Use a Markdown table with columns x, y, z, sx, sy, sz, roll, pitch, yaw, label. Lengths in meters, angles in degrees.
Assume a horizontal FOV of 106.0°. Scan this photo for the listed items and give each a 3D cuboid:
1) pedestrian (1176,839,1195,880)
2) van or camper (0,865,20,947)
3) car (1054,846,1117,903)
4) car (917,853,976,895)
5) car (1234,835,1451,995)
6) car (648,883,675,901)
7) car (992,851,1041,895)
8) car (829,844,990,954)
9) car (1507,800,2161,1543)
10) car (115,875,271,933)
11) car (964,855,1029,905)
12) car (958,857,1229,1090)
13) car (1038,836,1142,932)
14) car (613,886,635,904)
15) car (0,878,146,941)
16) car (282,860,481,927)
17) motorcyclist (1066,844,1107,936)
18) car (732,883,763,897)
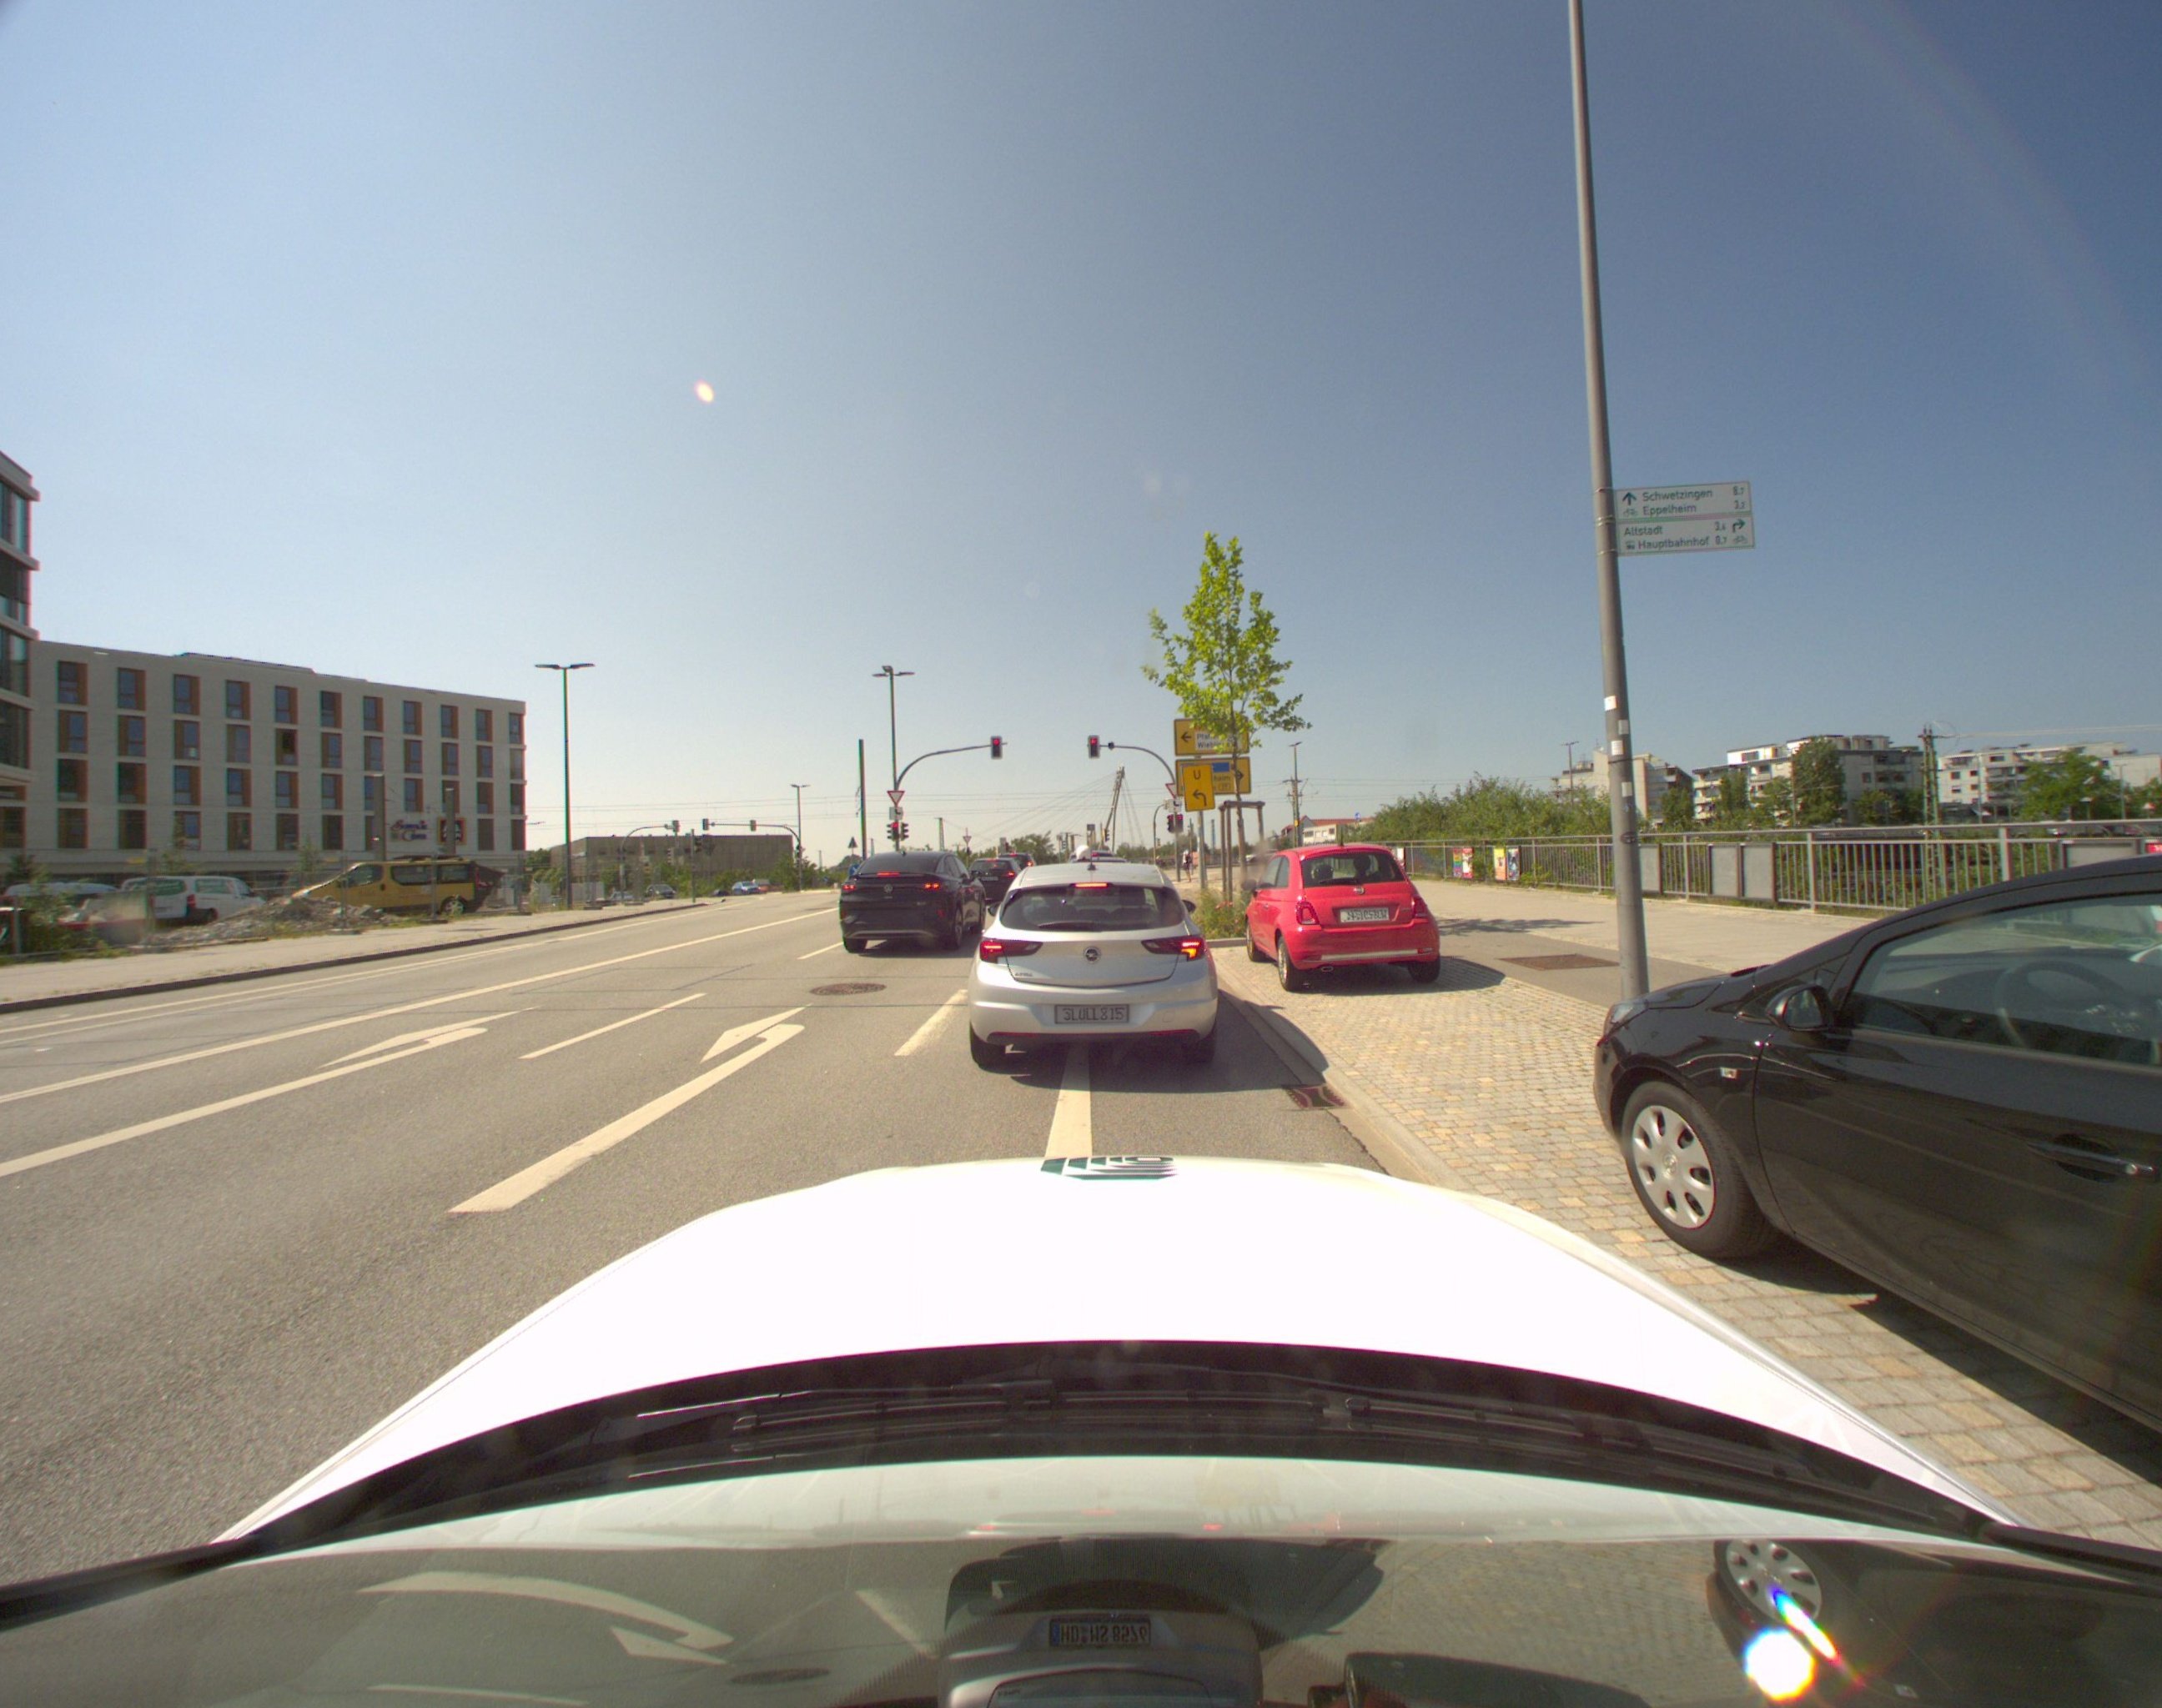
| x | y | z | sx | sy | sz | roll | pitch | yaw | label |
| --- | --- | --- | --- | --- | --- | --- | --- | --- | --- |
| 4.808 | 0.265 | 37.452 | 0.645 | 1.836 | 0.798 | -3 | -1 | 0 | pedestrian |
| -36.439 | 1.713 | 25.250 | 2.318 | 2.735 | 4.944 | 0 | -1 | -26 | van or camper |
| 0.201 | 0.538 | 24.542 | 1.717 | 1.563 | 4.002 | 0 | 1 | 2 | car |
| -5.256 | 0.771 | 32.159 | 1.591 | 1.547 | 3.764 | 0 | -1 | 2 | car |
| 2.921 | 0.606 | 9.798 | 1.603 | 1.496 | 3.355 | -4 | 0 | 3 | car |
| -38.555 | 3.503 | 74.817 | 1.686 | 1.476 | 3.368 | -2 | 0 | -37 | car |
| -2.456 | 0.712 | 31.815 | 1.644 | 1.615 | 3.819 | 0 | -1 | 0 | car |
| -2.818 | 0.690 | 14.387 | 1.795 | 1.641 | 4.367 | 0 | -1 | 2 | car |
| 2.879 | 0.575 | 1.926 | 1.654 | 1.426 | 4.001 | -3 | -1 | 1 | car |
| -31.034 | 1.686 | 28.673 | 1.873 | 1.774 | 4.619 | 0 | -1 | -22 | car |
| -2.605 | 0.780 | 25.822 | 1.569 | 1.434 | 3.786 | 0 | -1 | 1 | car |
| 0.062 | 0.782 | 7.247 | 1.738 | 1.478 | 3.998 | 0 | -1 | -1 | car |
| 0.252 | 0.559 | 17.883 | 1.986 | 1.820 | 4.404 | 0 | 0 | 2 | car |
| -46.015 | 4.107 | 81.973 | 1.578 | 1.587 | 3.441 | 0 | -1 | -35 | car |
| -33.672 | 1.788 | 27.212 | 1.794 | 1.857 | 3.818 | 0 | -1 | -26 | car |
| -22.618 | 1.188 | 26.479 | 1.964 | 1.962 | 4.655 | -1 | -1 | 40 | car |
| 0.074 | 0.542 | 12.604 | 0.580 | 1.389 | 0.706 | 0 | -1 | -4 | motorcyclist |
| -33.217 | 3.546 | 81.073 | 1.831 | 1.331 | 3.954 | 0 | -2 | -38 | car |
